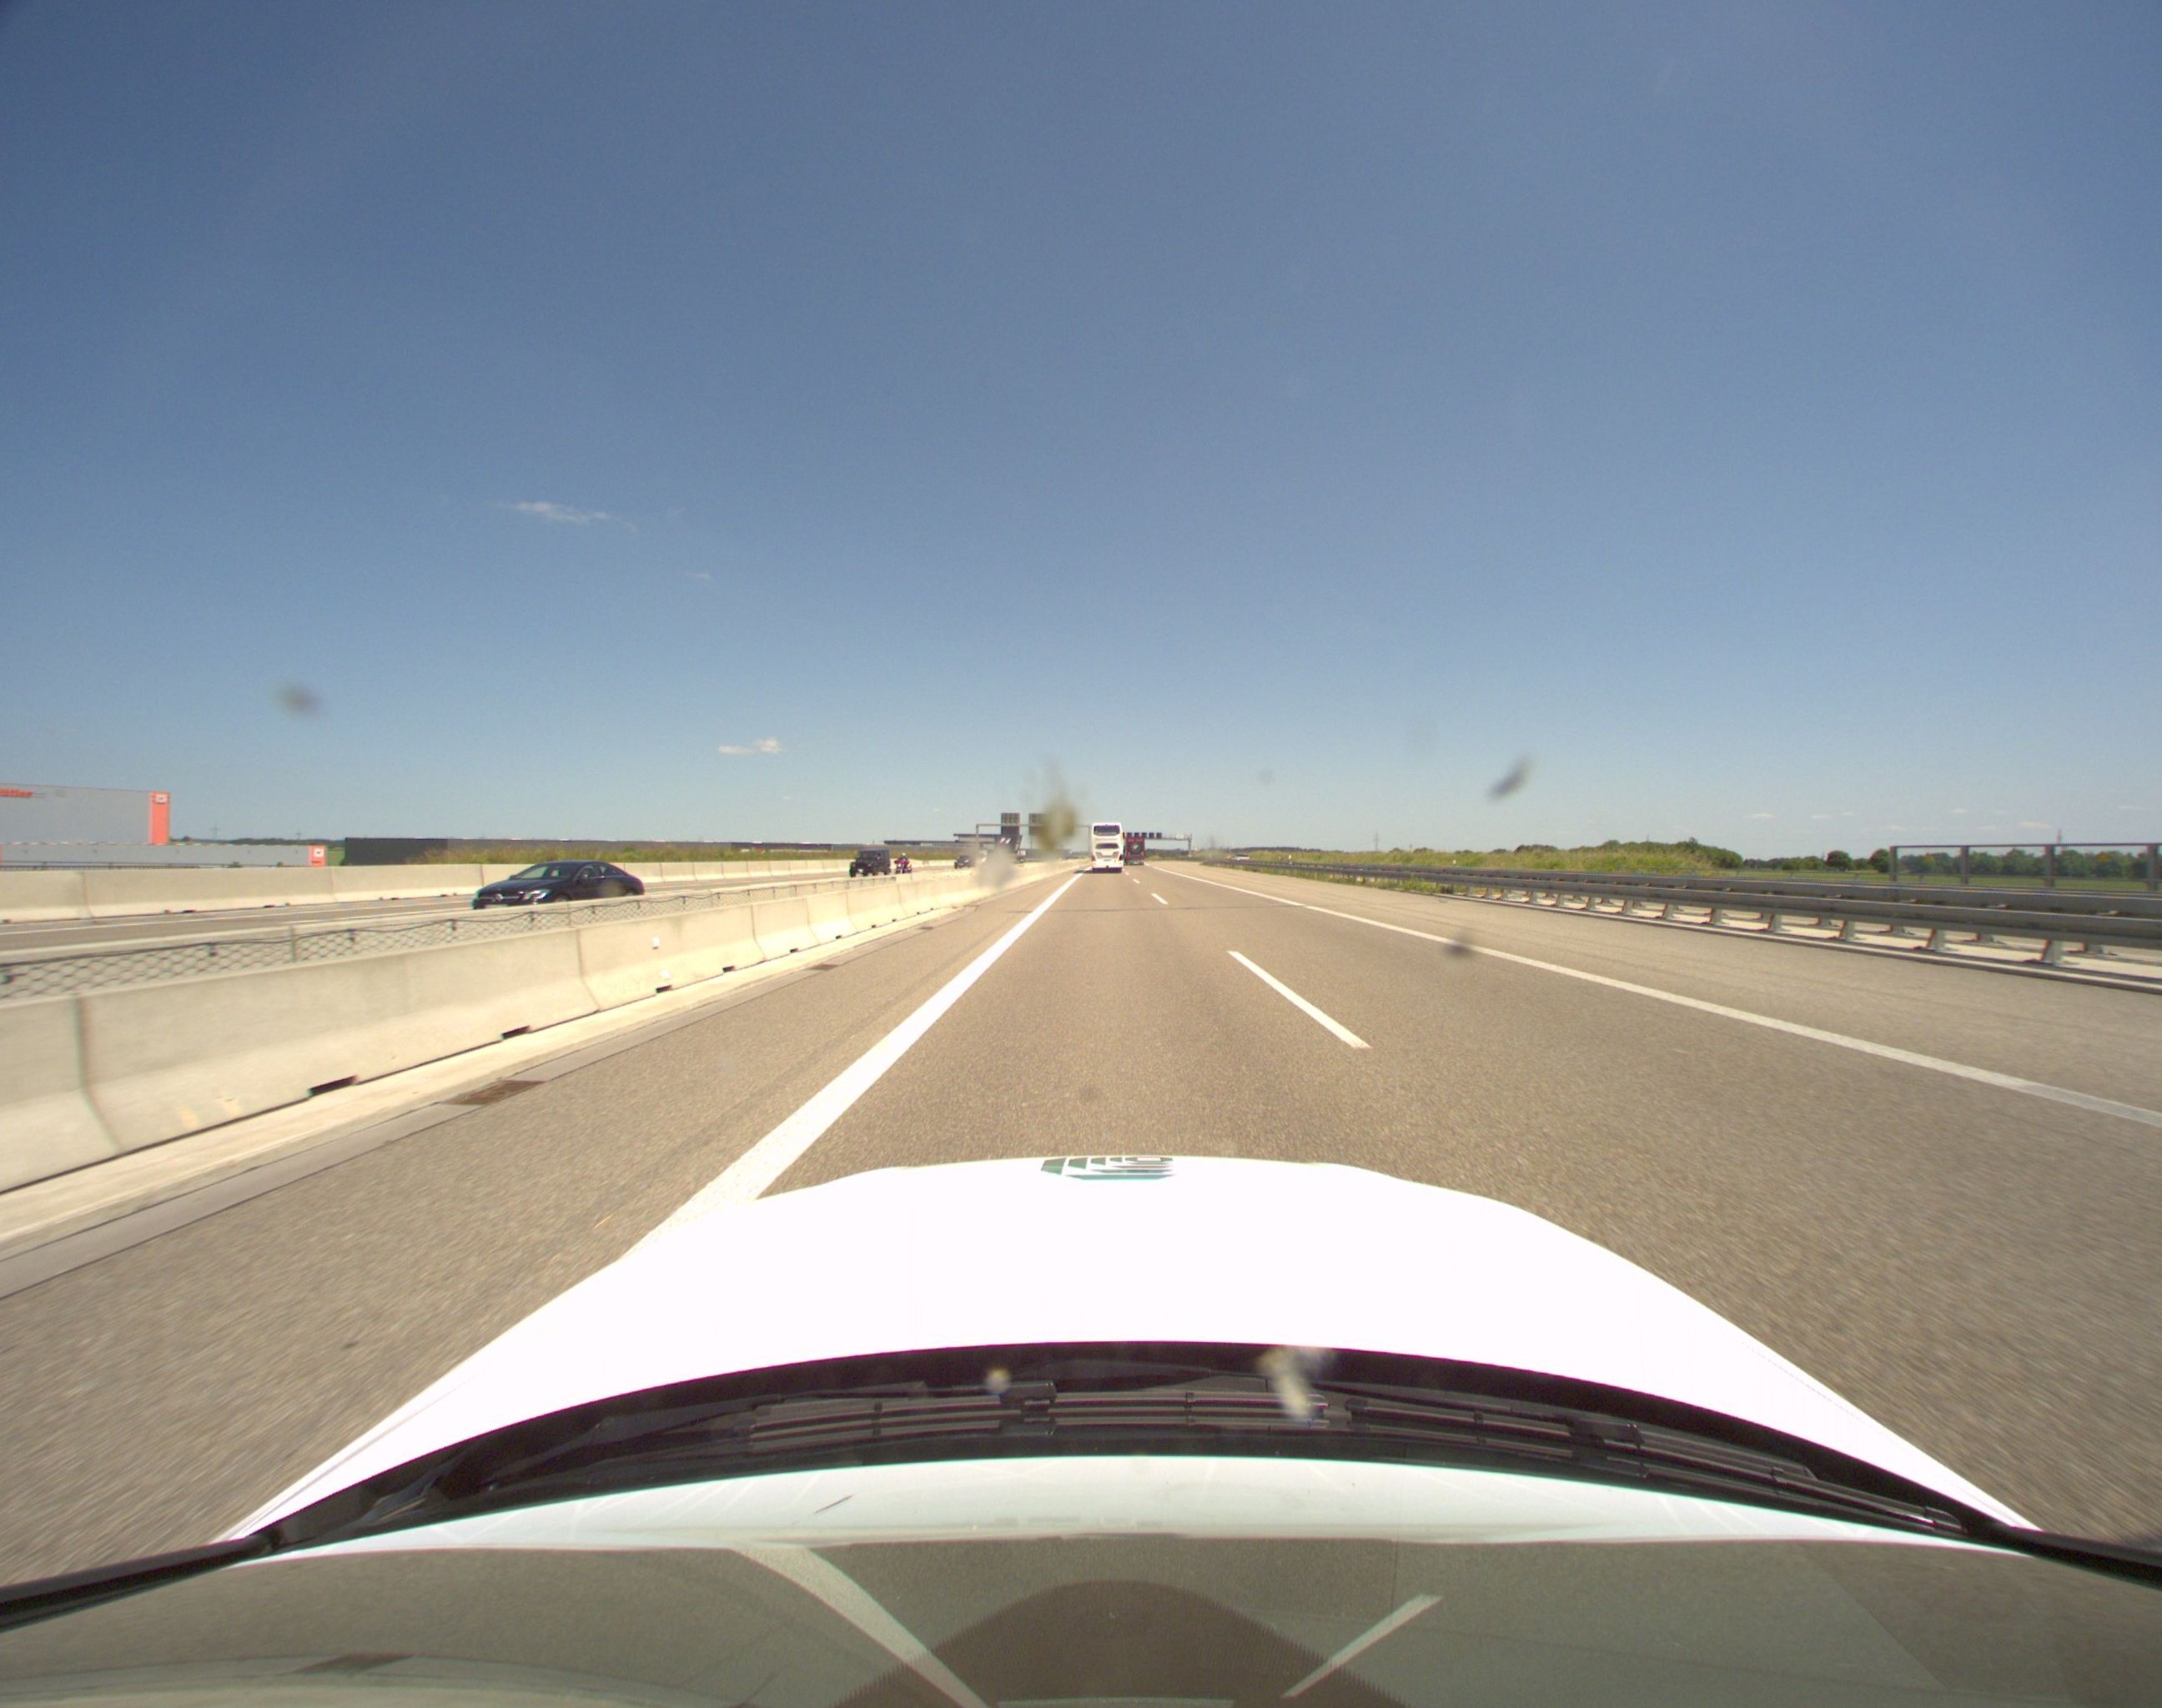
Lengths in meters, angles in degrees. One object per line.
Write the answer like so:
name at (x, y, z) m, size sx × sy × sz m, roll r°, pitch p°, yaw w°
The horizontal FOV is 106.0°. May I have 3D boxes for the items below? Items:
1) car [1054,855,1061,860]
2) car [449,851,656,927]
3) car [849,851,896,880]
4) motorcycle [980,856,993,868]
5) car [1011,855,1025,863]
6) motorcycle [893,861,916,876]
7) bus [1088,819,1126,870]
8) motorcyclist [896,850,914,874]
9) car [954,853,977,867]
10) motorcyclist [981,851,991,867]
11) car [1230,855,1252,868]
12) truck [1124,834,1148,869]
car at (-6.570, 0.922, 230.193) m, size 1.884 × 1.329 × 3.986 m, roll -1°, pitch 0°, yaw 0°
car at (-12.925, 0.771, 20.371) m, size 1.986 × 1.669 × 4.652 m, roll -1°, pitch 0°, yaw 2°
car at (-14.809, 0.776, 58.068) m, size 1.877 × 2.017 × 4.739 m, roll -1°, pitch 0°, yaw 3°
motorcycle at (-9.999, 0.846, 85.969) m, size 0.954 × 1.169 × 2.724 m, roll -1°, pitch 0°, yaw 3°
car at (-11.382, 0.924, 147.346) m, size 1.985 × 1.379 × 4.368 m, roll -1°, pitch 0°, yaw 4°
motorcycle at (-11.517, 0.921, 53.172) m, size 0.772 × 0.902 × 2.707 m, roll -1°, pitch 0°, yaw 3°
bus at (2.165, -0.750, 69.007) m, size 2.969 × 3.975 × 9.107 m, roll -1°, pitch 0°, yaw 1°
motorcyclist at (-11.509, 0.525, 53.169) m, size 0.914 × 1.497 × 0.924 m, roll -1°, pitch 0°, yaw 2°
car at (-13.464, 0.706, 95.226) m, size 1.861 × 1.491 × 5.141 m, roll -1°, pitch 0°, yaw 2°
motorcyclist at (-10.007, 0.536, 85.899) m, size 0.916 × 1.621 × 1.089 m, roll -1°, pitch 0°, yaw 2°
car at (19.368, 0.874, 98.506) m, size 1.884 × 1.529 × 4.262 m, roll -1°, pitch 0°, yaw 1°
truck at (8.012, -0.228, 117.890) m, size 3.364 × 4.464 × 13.580 m, roll 0°, pitch -2°, yaw 4°
